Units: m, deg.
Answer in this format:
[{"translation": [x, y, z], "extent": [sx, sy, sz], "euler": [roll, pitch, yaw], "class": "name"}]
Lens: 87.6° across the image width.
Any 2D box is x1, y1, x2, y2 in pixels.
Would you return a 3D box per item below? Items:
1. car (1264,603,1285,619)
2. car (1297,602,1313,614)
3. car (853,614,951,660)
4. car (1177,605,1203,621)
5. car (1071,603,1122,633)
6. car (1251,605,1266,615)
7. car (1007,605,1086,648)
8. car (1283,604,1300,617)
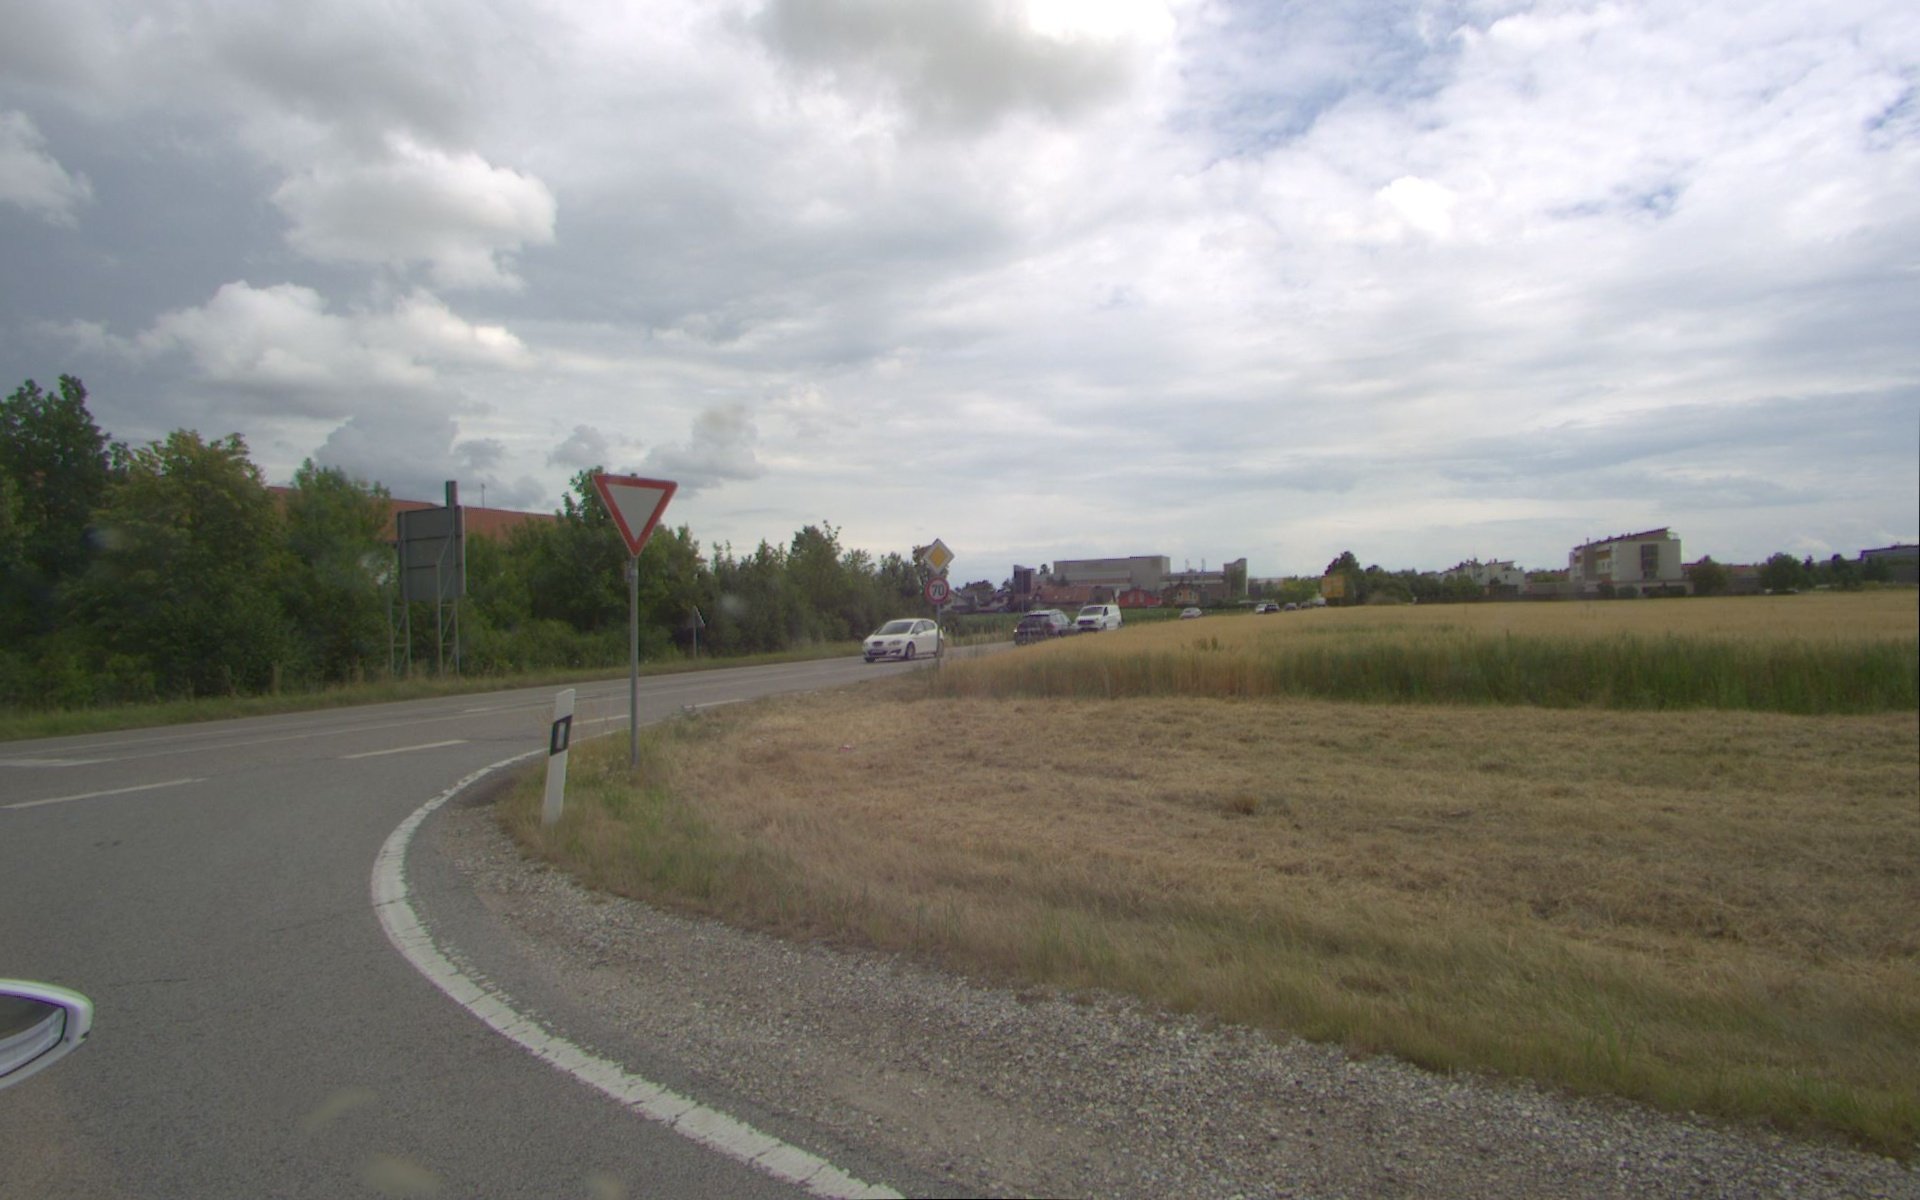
[{"translation": [38.213, 1.339, 121.452], "extent": [1.835, 1.750, 3.985], "euler": [-1, 0, 26], "class": "car"}, {"translation": [59.060, 1.388, 171.464], "extent": [2.086, 2.040, 4.725], "euler": [-1, 0, 24], "class": "car"}, {"translation": [-2.006, 1.301, 36.038], "extent": [1.790, 1.426, 4.300], "euler": [-3, 0, 22], "class": "car"}, {"translation": [22.570, 1.239, 98.123], "extent": [1.651, 1.420, 4.076], "euler": [-3, -1, 24], "class": "car"}, {"translation": [9.534, 1.223, 69.340], "extent": [2.078, 1.910, 5.374], "euler": [-2, -1, 23], "class": "car"}, {"translation": [44.249, 1.461, 148.468], "extent": [1.707, 1.450, 3.923], "euler": [-3, -1, 23], "class": "car"}, {"translation": [3.540, 1.042, 40.429], "extent": [1.835, 1.586, 3.985], "euler": [-2, 0, 26], "class": "car"}, {"translation": [48.668, 1.549, 146.821], "extent": [1.835, 1.750, 3.985], "euler": [-1, 0, 26], "class": "car"}]
